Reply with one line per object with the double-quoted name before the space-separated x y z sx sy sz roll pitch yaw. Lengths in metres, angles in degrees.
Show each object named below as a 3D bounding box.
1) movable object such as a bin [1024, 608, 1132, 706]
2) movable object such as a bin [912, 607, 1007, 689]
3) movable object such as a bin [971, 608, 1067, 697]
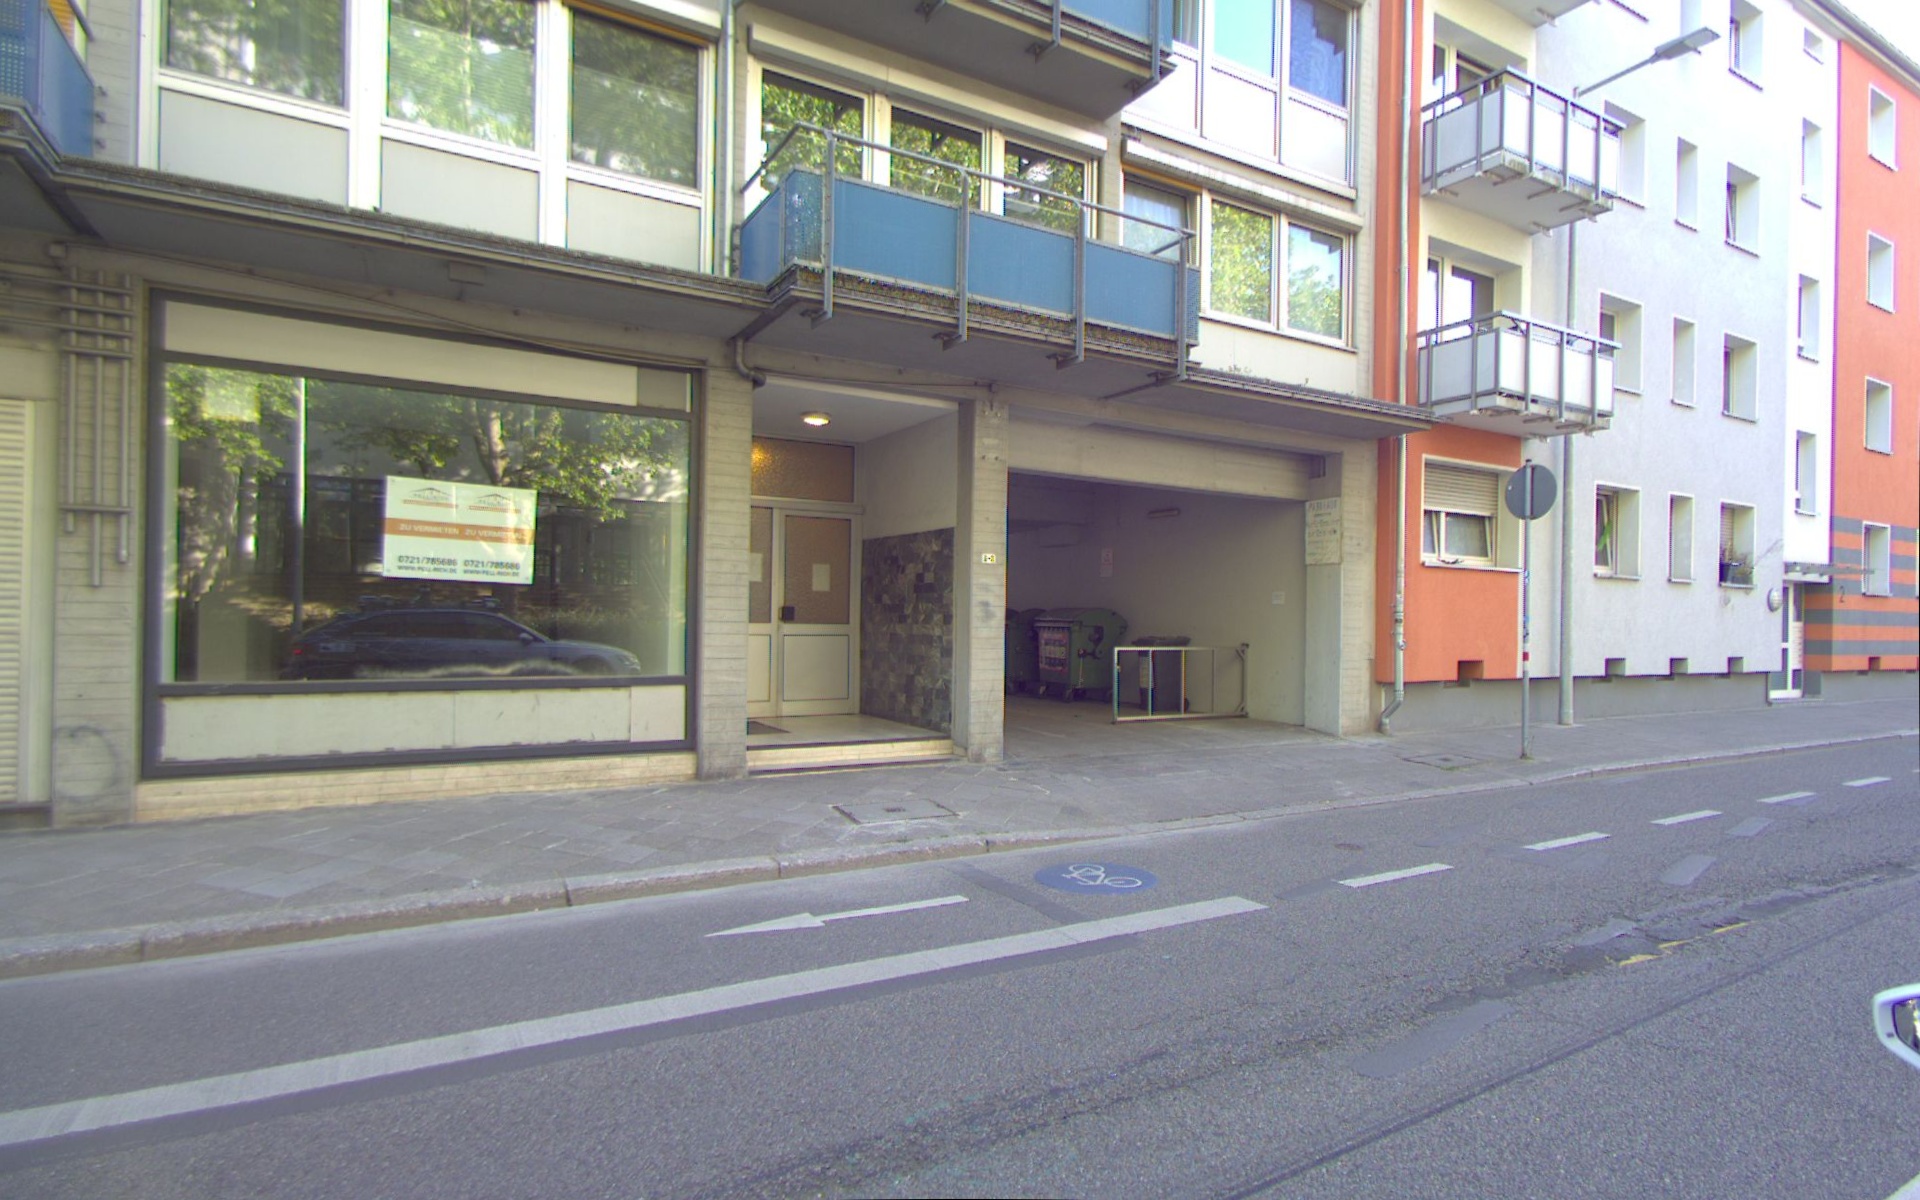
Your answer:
"movable object such as a bin" 1.844 0.865 15.854 1.128 1.449 1.342 1 0 -28
"movable object such as a bin" -0.035 0.869 18.880 1.119 1.449 1.666 1 -1 -28
"movable object such as a bin" 0.993 0.871 17.177 1.119 1.449 1.322 1 0 -28
